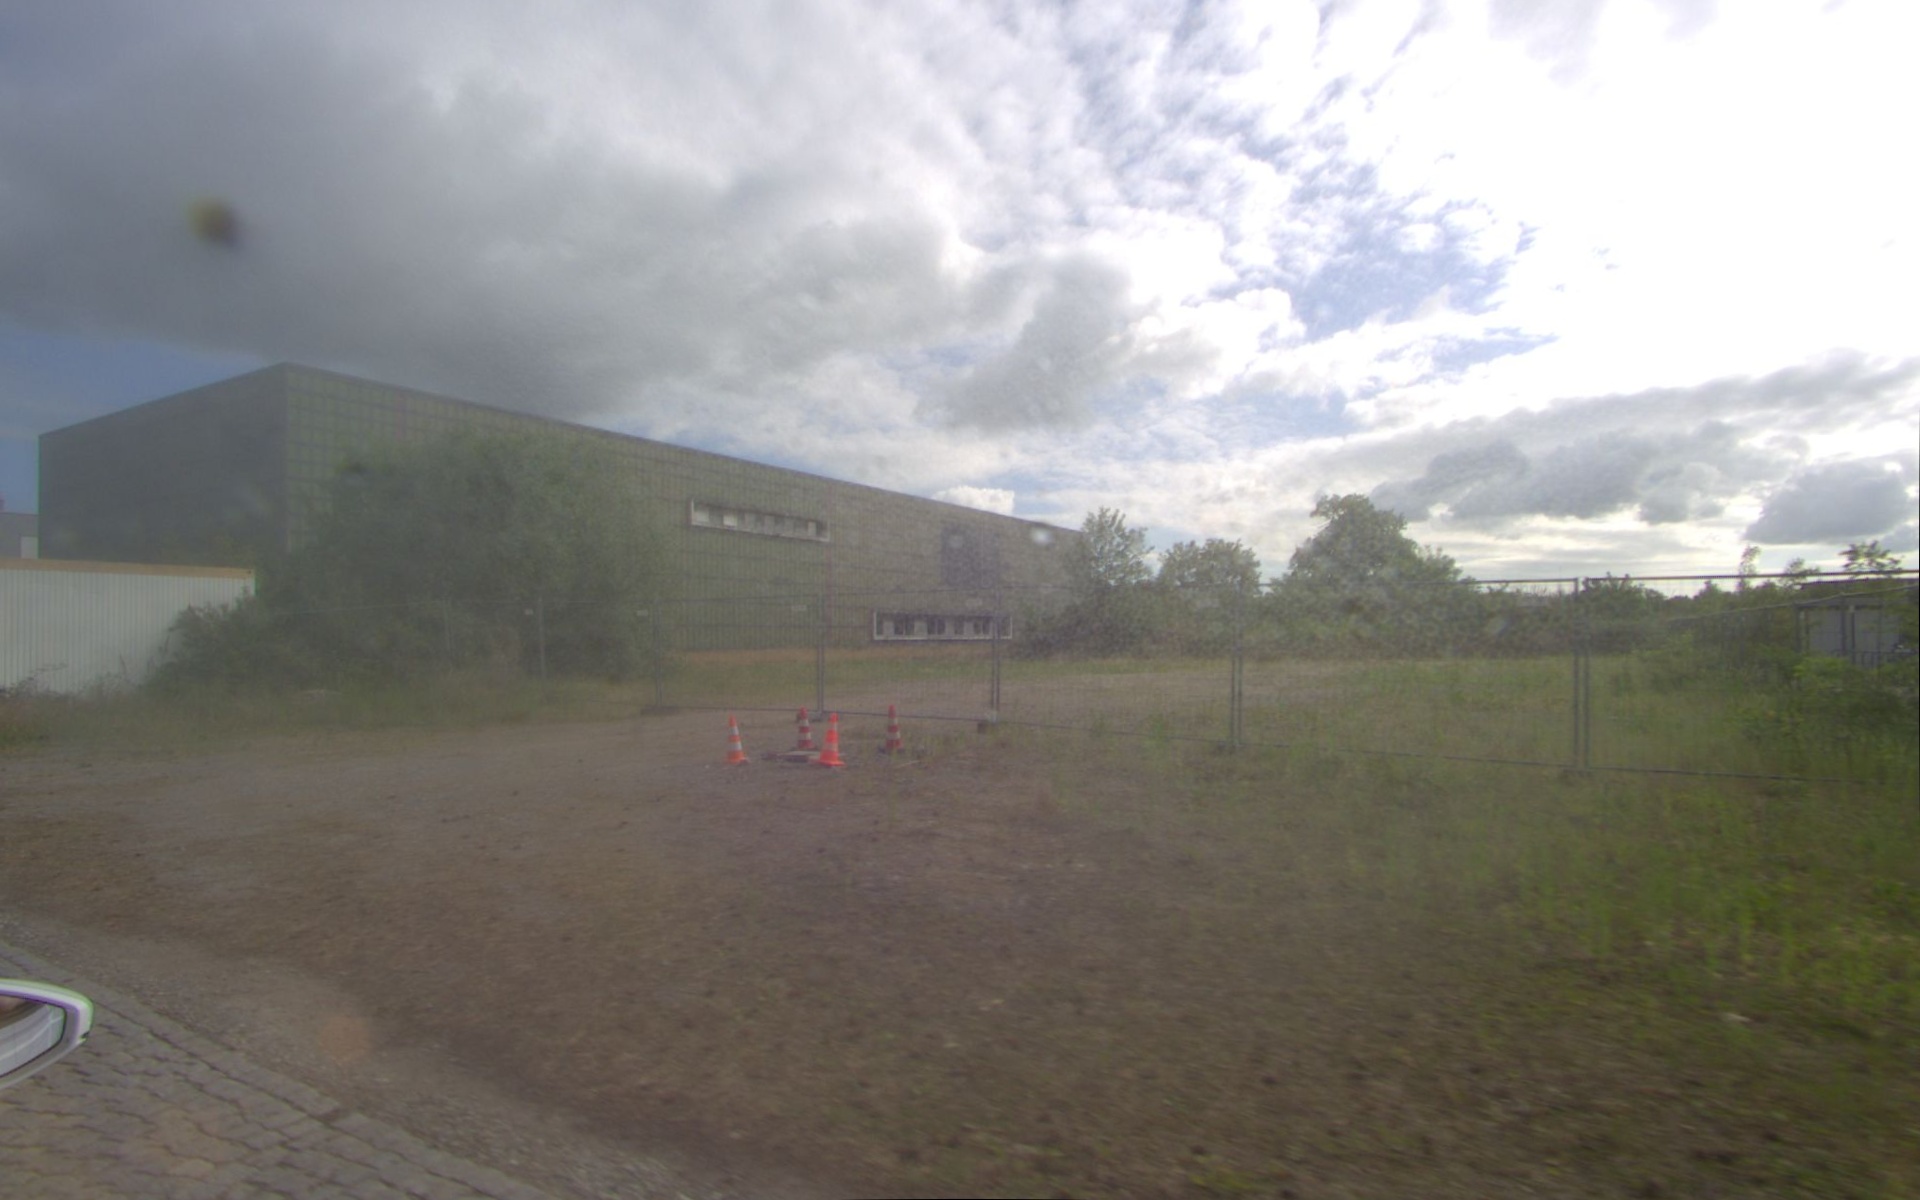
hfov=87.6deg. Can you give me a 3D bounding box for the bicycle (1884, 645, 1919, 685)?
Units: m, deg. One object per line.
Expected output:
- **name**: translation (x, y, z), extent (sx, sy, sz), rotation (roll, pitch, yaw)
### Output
- **bicycle**: translation (25.137, 1.661, 25.694), extent (1.962, 1.038, 0.832), rotation (-2, -2, 34)

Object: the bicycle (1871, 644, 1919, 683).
- **bicycle**: translation (26.354, 1.738, 27.416), extent (1.962, 1.038, 0.832), rotation (-2, -2, 34)
